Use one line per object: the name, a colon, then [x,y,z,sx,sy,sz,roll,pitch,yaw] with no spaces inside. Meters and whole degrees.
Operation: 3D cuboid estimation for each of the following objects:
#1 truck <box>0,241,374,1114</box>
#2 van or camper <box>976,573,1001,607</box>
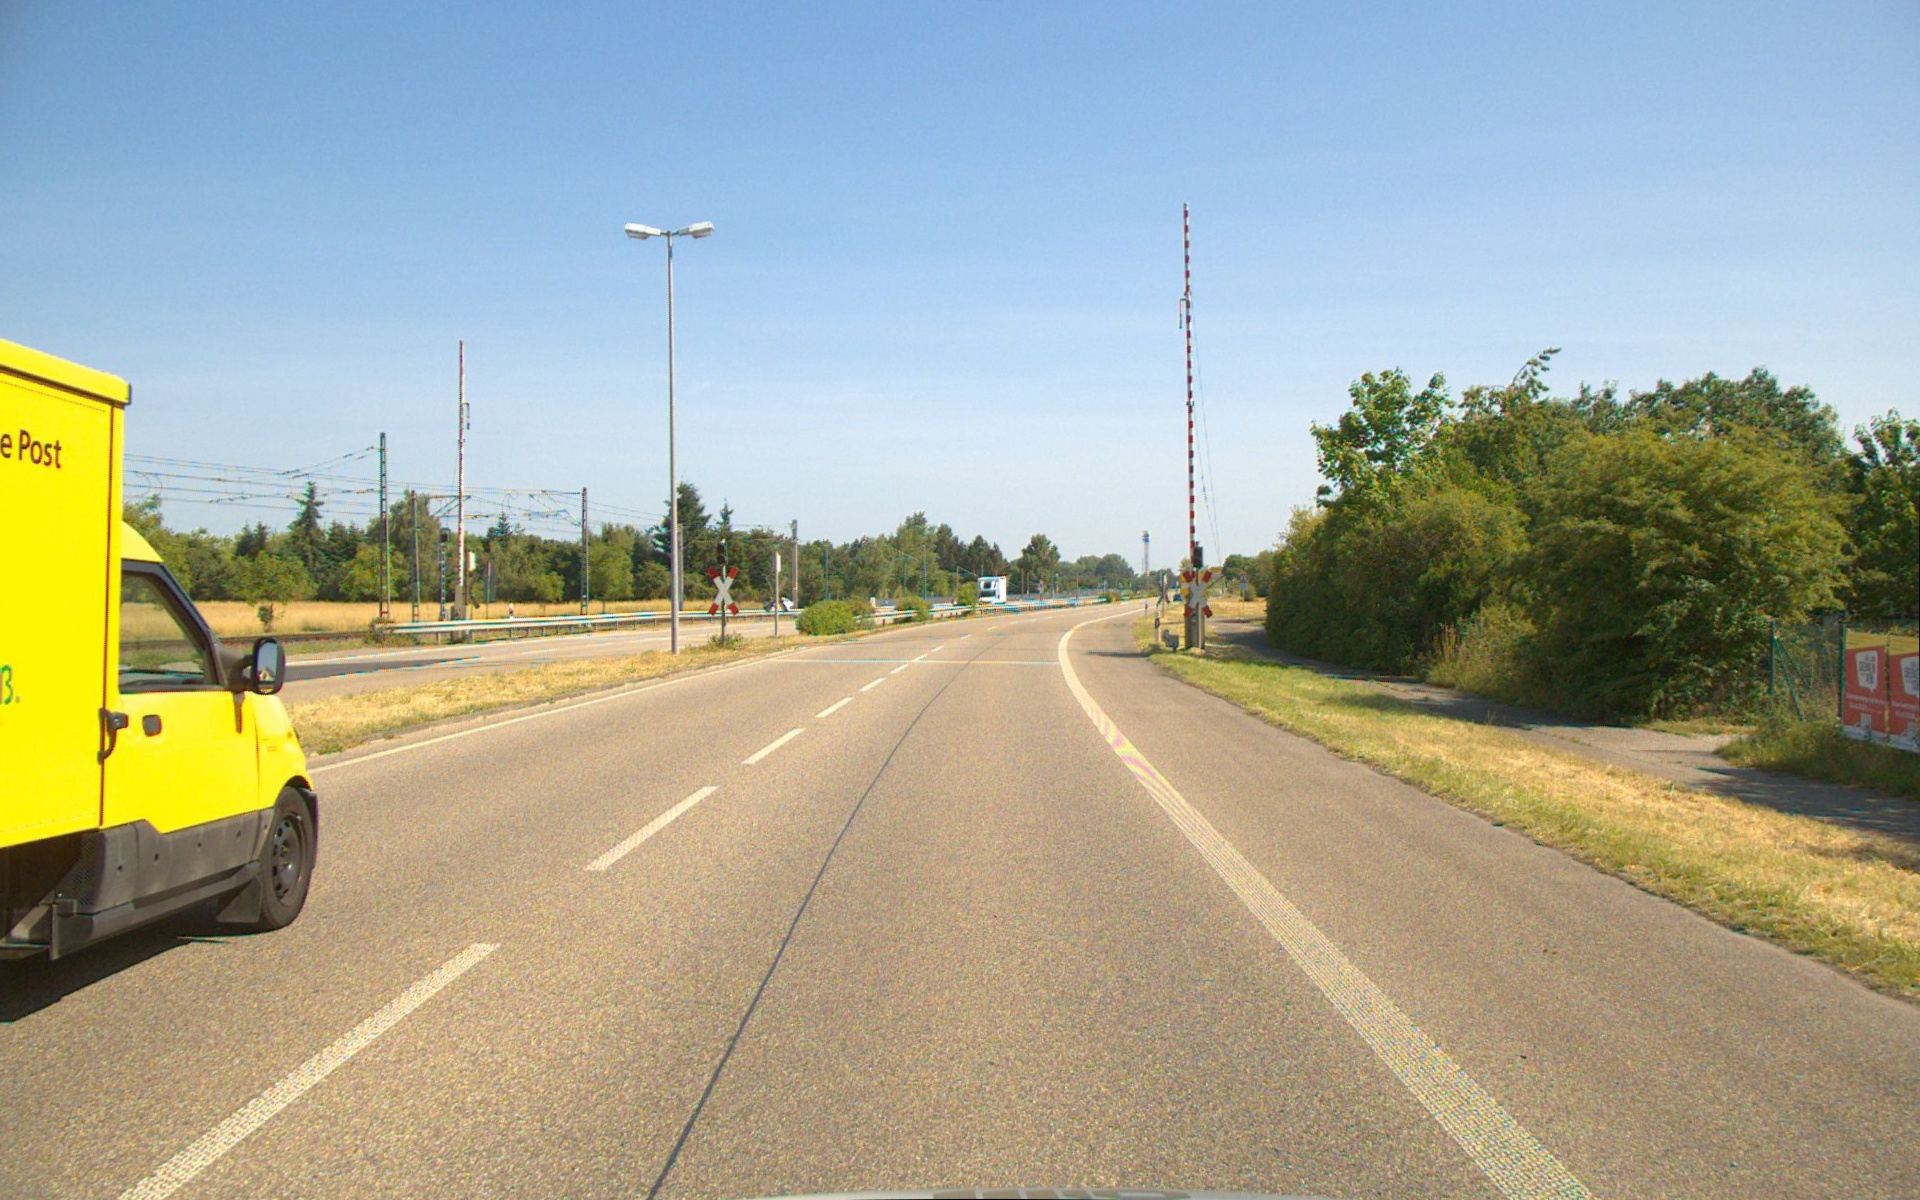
truck: [-3.796,0.215,5.076,2.069,2.500,5.914,1,0,-2]
van or camper: [3.230,-1.160,189.914,2.817,3.745,8.644,-1,0,1]
